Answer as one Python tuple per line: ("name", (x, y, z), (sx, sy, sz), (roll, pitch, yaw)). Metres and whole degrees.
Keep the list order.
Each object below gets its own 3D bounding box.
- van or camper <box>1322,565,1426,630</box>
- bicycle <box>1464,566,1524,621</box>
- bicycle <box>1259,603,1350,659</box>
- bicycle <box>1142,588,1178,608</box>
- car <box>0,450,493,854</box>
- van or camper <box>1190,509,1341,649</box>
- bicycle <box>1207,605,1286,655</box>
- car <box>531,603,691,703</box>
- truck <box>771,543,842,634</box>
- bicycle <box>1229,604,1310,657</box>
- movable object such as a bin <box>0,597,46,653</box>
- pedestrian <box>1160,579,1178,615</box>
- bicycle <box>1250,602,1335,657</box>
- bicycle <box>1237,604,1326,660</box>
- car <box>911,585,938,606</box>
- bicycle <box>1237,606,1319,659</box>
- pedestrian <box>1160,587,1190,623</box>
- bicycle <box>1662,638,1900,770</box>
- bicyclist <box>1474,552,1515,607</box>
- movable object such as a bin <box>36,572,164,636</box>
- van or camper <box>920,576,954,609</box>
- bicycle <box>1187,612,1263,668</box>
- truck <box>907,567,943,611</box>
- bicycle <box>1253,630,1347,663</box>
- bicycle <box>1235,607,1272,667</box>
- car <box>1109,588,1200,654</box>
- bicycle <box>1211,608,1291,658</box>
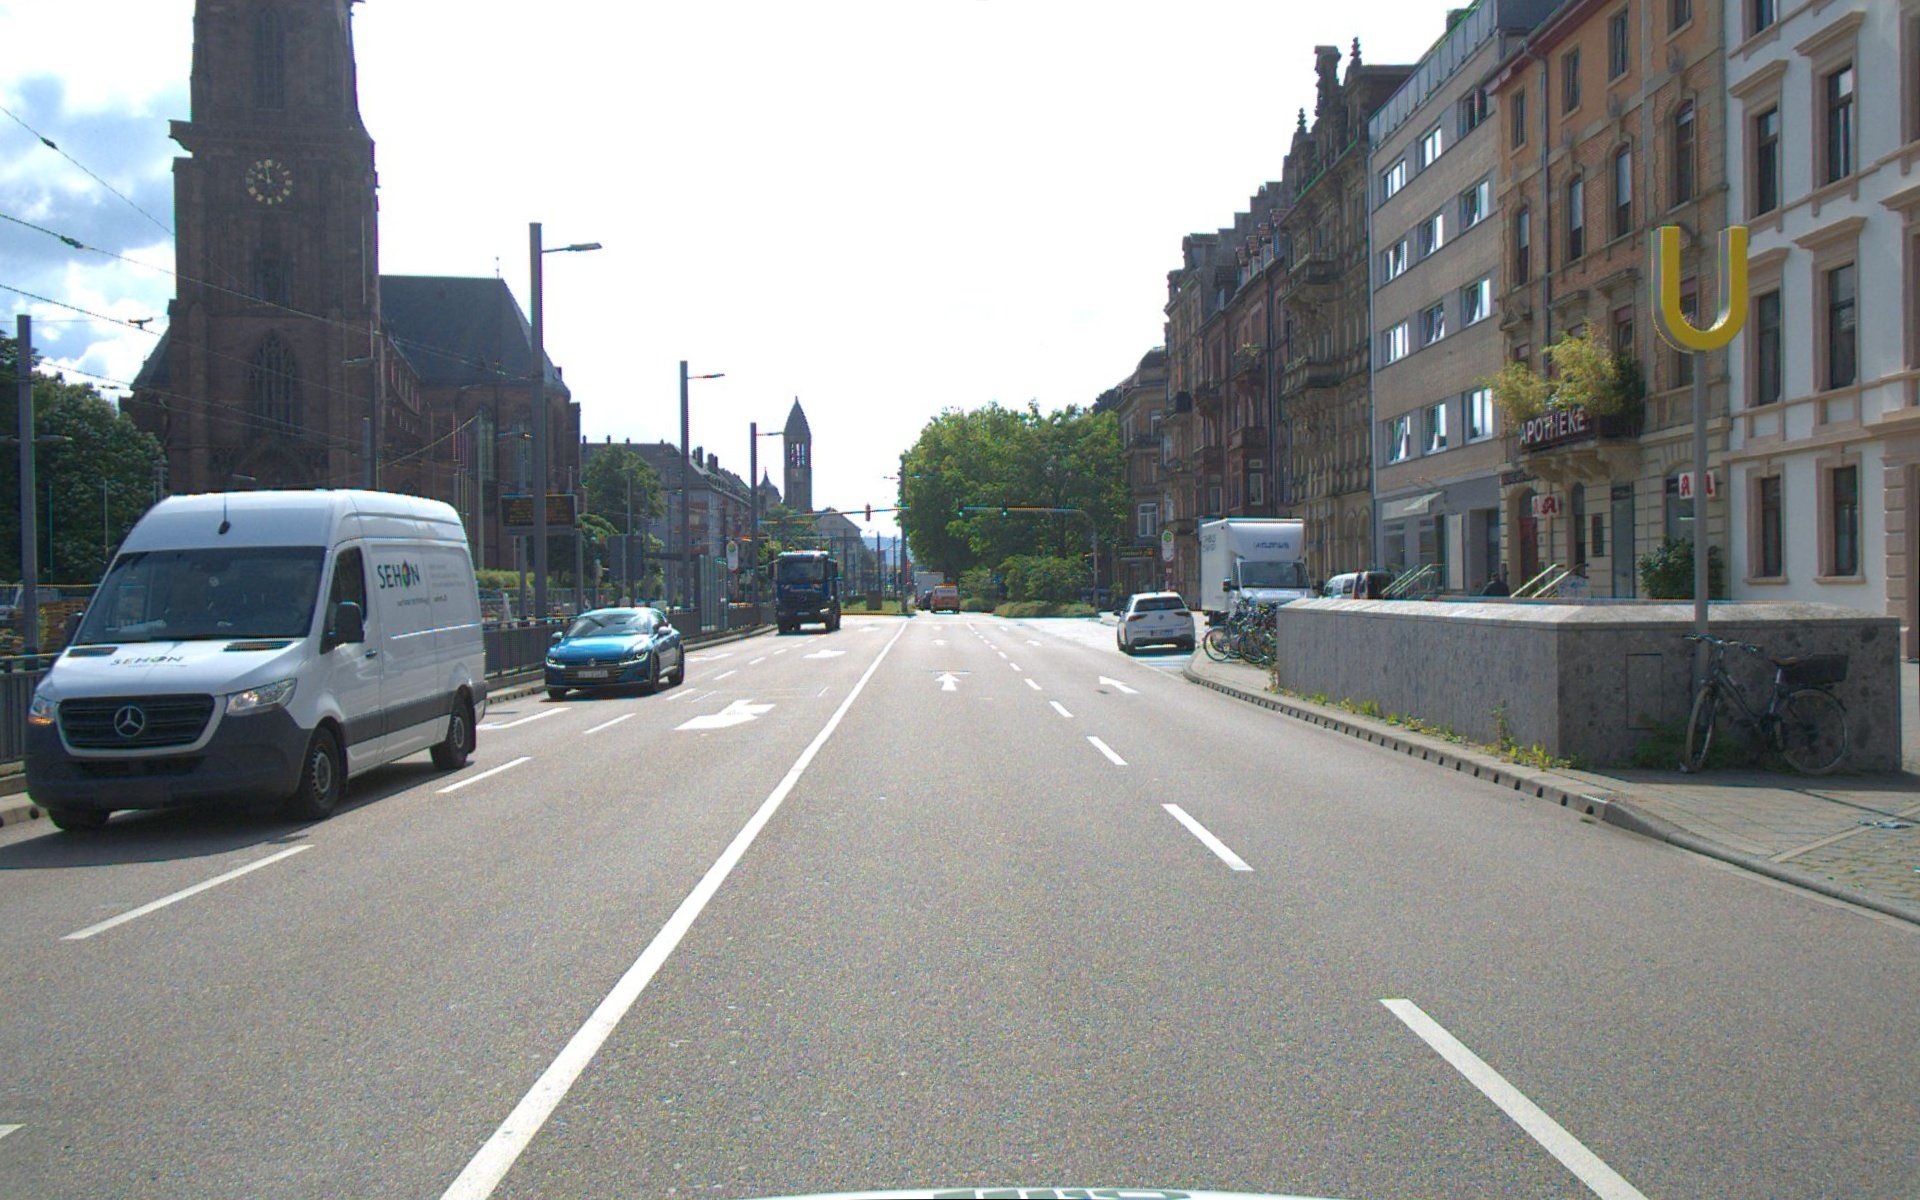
("van or camper", (13.661, -0.097, 54.908), (1.953, 1.938, 5.297), (-3, 0, -1))
("bicycle", (12.112, -0.130, 37.566), (0.689, 1.066, 2.208), (1, -4, 1))
("bicycle", (6.845, 0.608, 32.869), (1.722, 1.104, 0.372), (0, 1, 1))
("bicycle", (12.499, -0.127, 103.451), (2.147, 1.201, 0.683), (-1, 0, -6))
("car", (-5.705, 0.350, 14.026), (1.953, 2.667, 5.578), (-2, 0, -2))
("van or camper", (8.072, -0.516, 44.673), (2.656, 3.389, 7.639), (-1, 0, 0))
("bicycle", (6.444, 0.662, 37.217), (1.725, 1.104, 0.372), (0, 1, -7))
("car", (-6.028, 0.857, 29.088), (1.812, 1.480, 4.554), (-2, 1, 0))
("truck", (-6.613, -0.525, 71.968), (2.413, 3.712, 7.449), (-1, 0, -1))
("bicycle", (6.690, 0.650, 35.792), (1.728, 1.104, 0.371), (0, 1, -14))
("movable object such as a bin", (-39.679, 1.009, 68.376), (1.957, 2.244, 4.263), (-1, 0, -9))
("pedestrian", (12.001, -0.151, 95.136), (0.868, 2.049, 0.996), (1, -1, -1))
("bicycle", (6.917, 0.606, 34.390), (1.726, 1.104, 0.371), (0, 1, -11))
("bicycle", (6.482, 0.641, 33.392), (1.722, 1.104, 0.372), (0, 1, 1))
("car", (-2.763, -0.339, 128.202), (1.954, 1.534, 3.998), (-1, 0, -3))
("bicycle", (6.786, 0.683, 35.292), (1.728, 1.104, 0.371), (0, 1, -14))
("pedestrian", (7.928, 0.184, 61.092), (0.737, 1.339, 0.810), (2, -1, -40))
("bicycle", (6.732, 0.847, 13.577), (1.738, 1.021, 0.512), (2, 0, -6))
("bicyclist", (12.119, -0.460, 37.513), (0.693, 1.168, 0.813), (1, -4, 1))
("movable object such as a bin", (-39.892, 0.178, 76.792), (4.803, 2.851, 2.000), (-1, 0, -1))
("van or camper", (-1.623, -0.510, 115.569), (1.970, 1.948, 4.517), (1, -4, -5))
("bicycle", (5.516, 0.825, 34.417), (1.573, 1.104, 0.370), (0, 1, -21))
("truck", (-3.214, -0.907, 148.563), (3.106, 3.344, 7.291), (0, -4, -2))
("bicycle", (6.522, 0.893, 31.813), (0.632, 0.596, 1.744), (-1, 0, -41))
("bicycle", (5.734, 0.705, 32.332), (0.364, 1.090, 1.764), (0, 1, -1))
("car", (4.898, 0.536, 42.153), (1.754, 1.462, 4.343), (-5, -1, 1))
("bicycle", (6.467, 0.732, 36.777), (1.725, 1.104, 0.372), (0, 1, -7))
